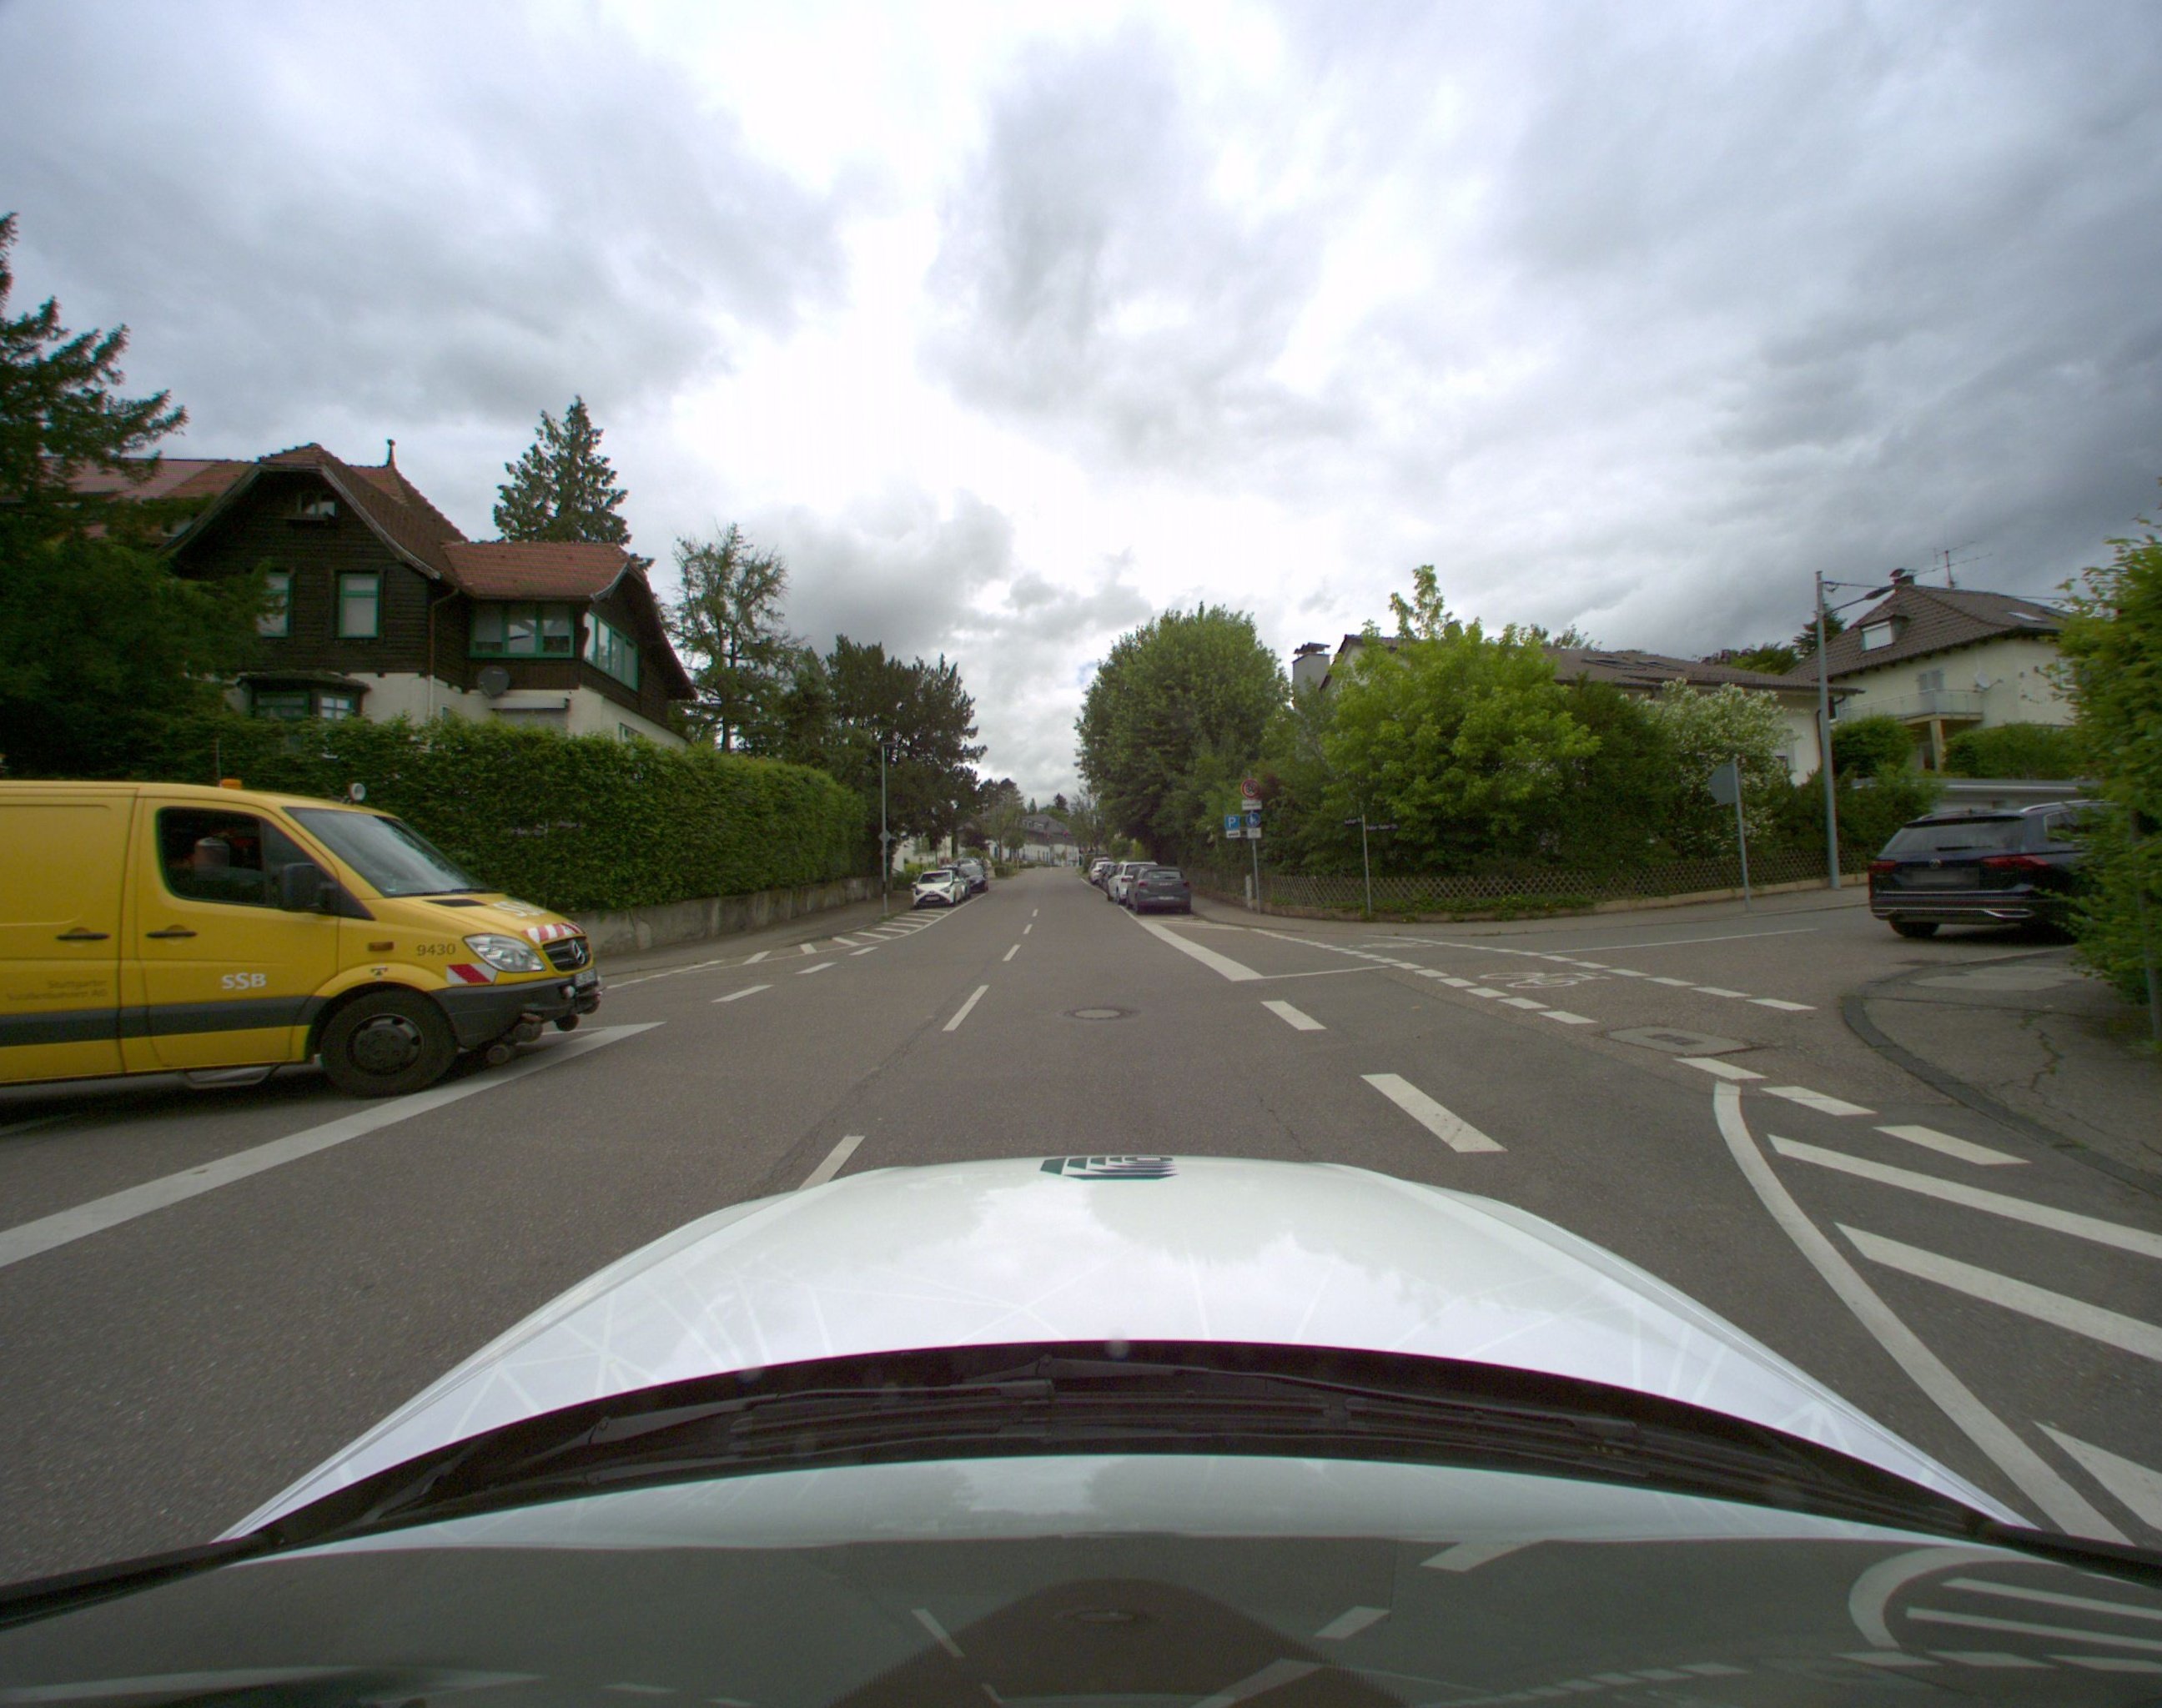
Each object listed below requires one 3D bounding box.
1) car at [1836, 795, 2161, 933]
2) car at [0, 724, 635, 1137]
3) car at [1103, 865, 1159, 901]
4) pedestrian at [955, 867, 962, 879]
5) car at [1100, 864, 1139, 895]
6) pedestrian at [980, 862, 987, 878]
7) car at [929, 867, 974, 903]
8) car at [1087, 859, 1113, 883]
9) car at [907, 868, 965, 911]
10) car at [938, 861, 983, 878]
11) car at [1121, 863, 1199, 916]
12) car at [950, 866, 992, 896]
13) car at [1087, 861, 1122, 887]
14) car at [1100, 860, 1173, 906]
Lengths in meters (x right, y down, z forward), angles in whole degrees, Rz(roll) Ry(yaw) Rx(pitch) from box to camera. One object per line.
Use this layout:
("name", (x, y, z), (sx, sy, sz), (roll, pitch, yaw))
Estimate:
("car", (12.690, 0.039, 10.727), (4.515, 1.435, 1.989), (-3, 1, -17))
("car", (-7.203, 0.500, 6.254), (6.136, 2.601, 2.355), (-3, 0, -16))
("car", (2.185, 1.246, 36.972), (1.808, 1.452, 4.369), (-2, -1, -6))
("pedestrian", (-12.581, 1.965, 83.875), (0.605, 1.283, 0.899), (0, -1, -2))
("car", (1.947, 1.266, 41.937), (1.693, 1.508, 4.157), (0, 0, -2))
("pedestrian", (-10.139, 1.664, 85.098), (0.591, 1.640, 0.565), (-3, -1, -1))
("car", (-5.834, 1.384, 36.967), (1.620, 1.519, 2.972), (-2, -1, -3))
("car", (1.331, 1.194, 58.664), (1.712, 1.632, 3.926), (0, -1, -2))
("car", (-5.770, 1.387, 32.750), (1.741, 1.448, 3.510), (-3, 0, -3))
("car", (-12.705, 1.646, 85.981), (4.377, 1.566, 2.064), (-2, 0, -4))
("car", (2.564, 1.122, 27.373), (1.933, 1.491, 4.451), (-3, 0, -3))
("car", (-5.999, 1.444, 44.796), (1.846, 1.469, 4.677), (-2, 0, -3))
("car", (1.460, 1.254, 52.698), (1.988, 1.491, 5.002), (-3, 0, -1))
("car", (2.101, 1.086, 32.298), (1.998, 1.608, 4.747), (-3, 0, -6))
